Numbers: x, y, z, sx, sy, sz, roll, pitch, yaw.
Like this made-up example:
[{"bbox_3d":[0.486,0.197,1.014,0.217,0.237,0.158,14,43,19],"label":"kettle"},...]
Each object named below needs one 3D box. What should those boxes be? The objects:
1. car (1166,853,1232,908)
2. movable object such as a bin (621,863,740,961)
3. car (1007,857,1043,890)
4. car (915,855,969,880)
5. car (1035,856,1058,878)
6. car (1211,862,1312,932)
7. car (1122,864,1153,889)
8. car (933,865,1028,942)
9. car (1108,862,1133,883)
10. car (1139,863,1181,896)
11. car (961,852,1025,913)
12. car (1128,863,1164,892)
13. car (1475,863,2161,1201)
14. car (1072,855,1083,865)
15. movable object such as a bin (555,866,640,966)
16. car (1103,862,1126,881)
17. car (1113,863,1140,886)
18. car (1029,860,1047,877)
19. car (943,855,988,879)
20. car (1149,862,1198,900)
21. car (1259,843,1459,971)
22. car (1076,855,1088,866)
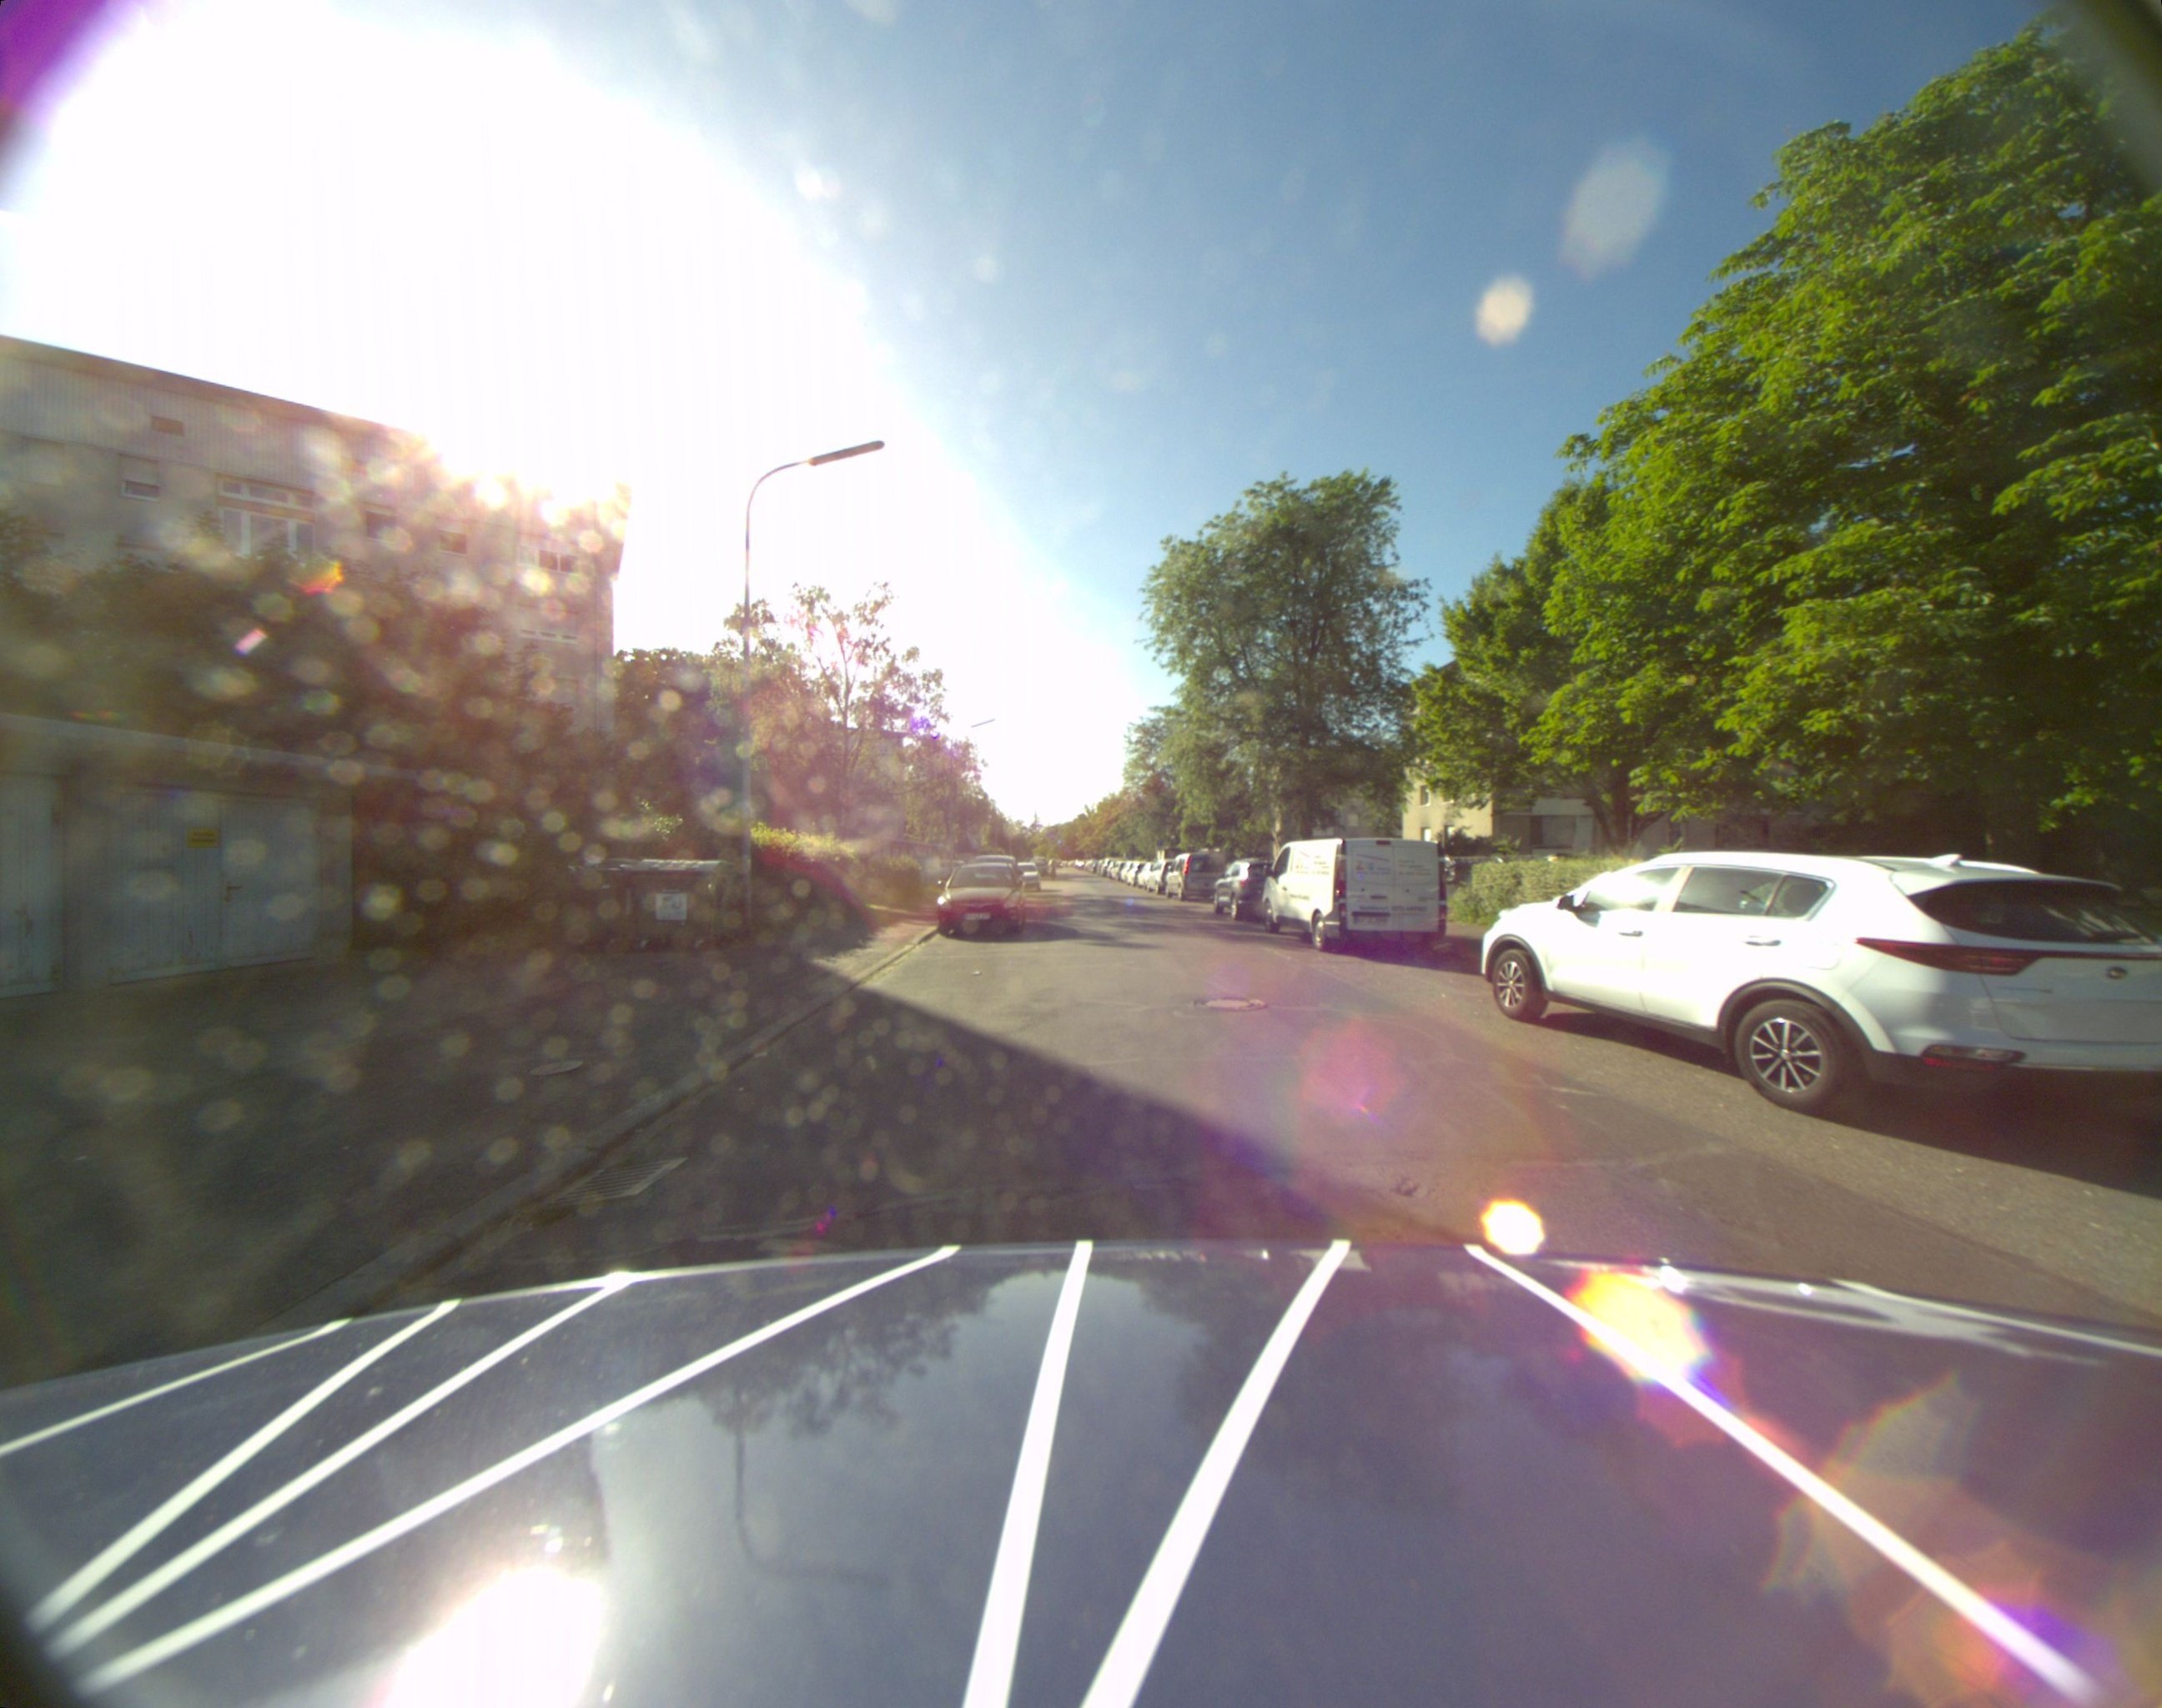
[{"bbox_3d":[4.500,0.993,29.510,1.733,1.941,3.812,2,0,-3],"label":"car"},{"bbox_3d":[-6.325,0.893,12.085,1.278,1.433,1.179,1,1,-4],"label":"movable object such as a bin"},{"bbox_3d":[-2.821,0.985,38.952,1.733,1.586,3.812,-1,0,-3],"label":"car"},{"bbox_3d":[-9.434,0.888,51.913,3.505,1.499,1.601,-2,1,-8],"label":"car"},{"bbox_3d":[-2.711,0.989,59.242,1.733,1.586,3.812,-1,0,-3],"label":"car"},{"bbox_3d":[4.717,1.068,20.380,1.732,1.630,3.812,2,-1,0],"label":"car"},{"bbox_3d":[3.823,1.501,52.041,1.633,1.619,3.555,2,-1,-3],"label":"car"},{"bbox_3d":[-2.110,1.001,16.872,1.733,1.462,3.812,-1,0,-3],"label":"car"},{"bbox_3d":[3.262,1.512,63.329,1.633,1.619,3.555,2,-1,-3],"label":"car"},{"bbox_3d":[4.171,1.341,40.488,1.633,1.619,3.555,2,-1,-3],"label":"car"},{"bbox_3d":[-2.722,0.852,24.206,1.733,1.743,3.812,-1,0,-3],"label":"car"},{"bbox_3d":[3.904,1.411,46.080,1.633,1.619,3.555,2,-1,-3],"label":"car"},{"bbox_3d":[5.131,0.927,5.858,1.733,1.630,4.168,2,-1,-4],"label":"car"},{"bbox_3d":[-0.661,1.047,126.532,1.633,1.619,3.555,2,-1,-3],"label":"car"},{"bbox_3d":[-7.329,0.919,11.554,0.754,1.433,0.848,1,1,-4],"label":"movable object such as a bin"},{"bbox_3d":[3.008,1.542,68.753,1.633,1.619,3.555,2,-1,-3],"label":"car"},{"bbox_3d":[3.498,1.548,58.673,1.633,1.619,3.555,2,-1,-3],"label":"car"},{"bbox_3d":[-4.142,1.392,73.713,1.733,1.586,3.812,-1,0,-3],"label":"car"},{"bbox_3d":[-10.479,1.203,69.155,3.778,2.002,1.810,-2,1,-3],"label":"car"},{"bbox_3d":[4.246,1.196,35.177,1.633,1.619,3.555,2,-1,-3],"label":"car"},{"bbox_3d":[4.887,0.855,14.154,1.910,1.930,4.510,2,-1,-2],"label":"car"},{"bbox_3d":[0.138,1.076,118.762,1.633,1.619,3.555,2,-1,-3],"label":"car"}]
